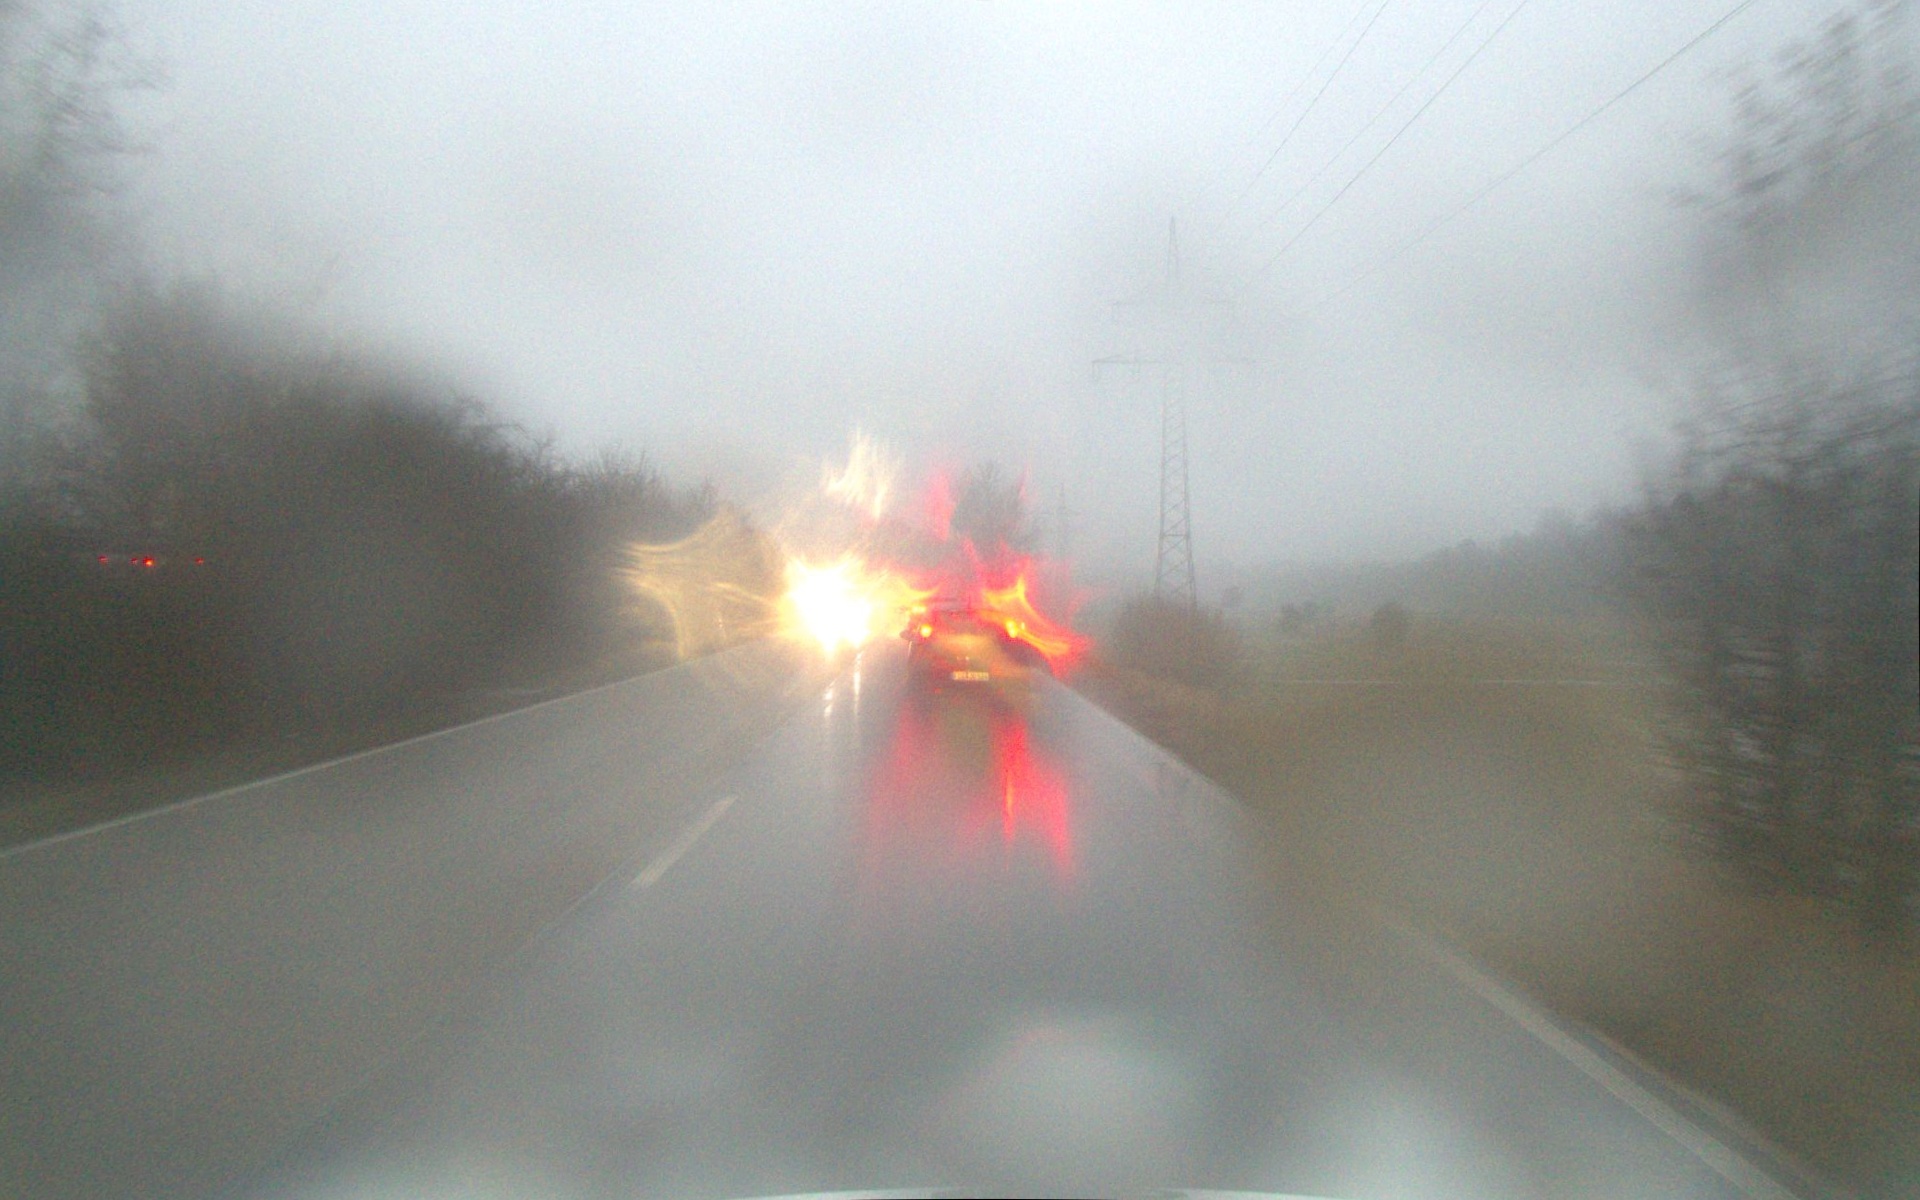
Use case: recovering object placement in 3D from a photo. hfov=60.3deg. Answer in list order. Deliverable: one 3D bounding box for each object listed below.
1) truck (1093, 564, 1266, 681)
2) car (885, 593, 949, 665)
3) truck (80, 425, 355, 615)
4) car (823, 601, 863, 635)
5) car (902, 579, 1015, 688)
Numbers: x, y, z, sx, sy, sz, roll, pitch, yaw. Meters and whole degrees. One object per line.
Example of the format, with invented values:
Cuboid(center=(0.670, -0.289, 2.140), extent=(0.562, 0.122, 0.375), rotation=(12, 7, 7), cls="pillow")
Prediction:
Cuboid(center=(5.430, 0.520, 42.969), extent=(2.454, 2.616, 10.798), rotation=(1, 0, -3), cls="truck")
Cuboid(center=(-1.271, 0.837, 49.237), extent=(1.815, 2.049, 3.999), rotation=(1, 0, -1), cls="car")
Cuboid(center=(-28.083, -2.695, 64.015), extent=(3.687, 6.398, 15.735), rotation=(1, 0, -1), cls="truck")
Cuboid(center=(-5.516, 0.824, 78.559), extent=(1.654, 1.533, 4.412), rotation=(1, 0, -1), cls="car")
Cuboid(center=(-0.053, 0.444, 23.483), extent=(1.470, 1.423, 3.198), rotation=(1, 0, -1), cls="car")
